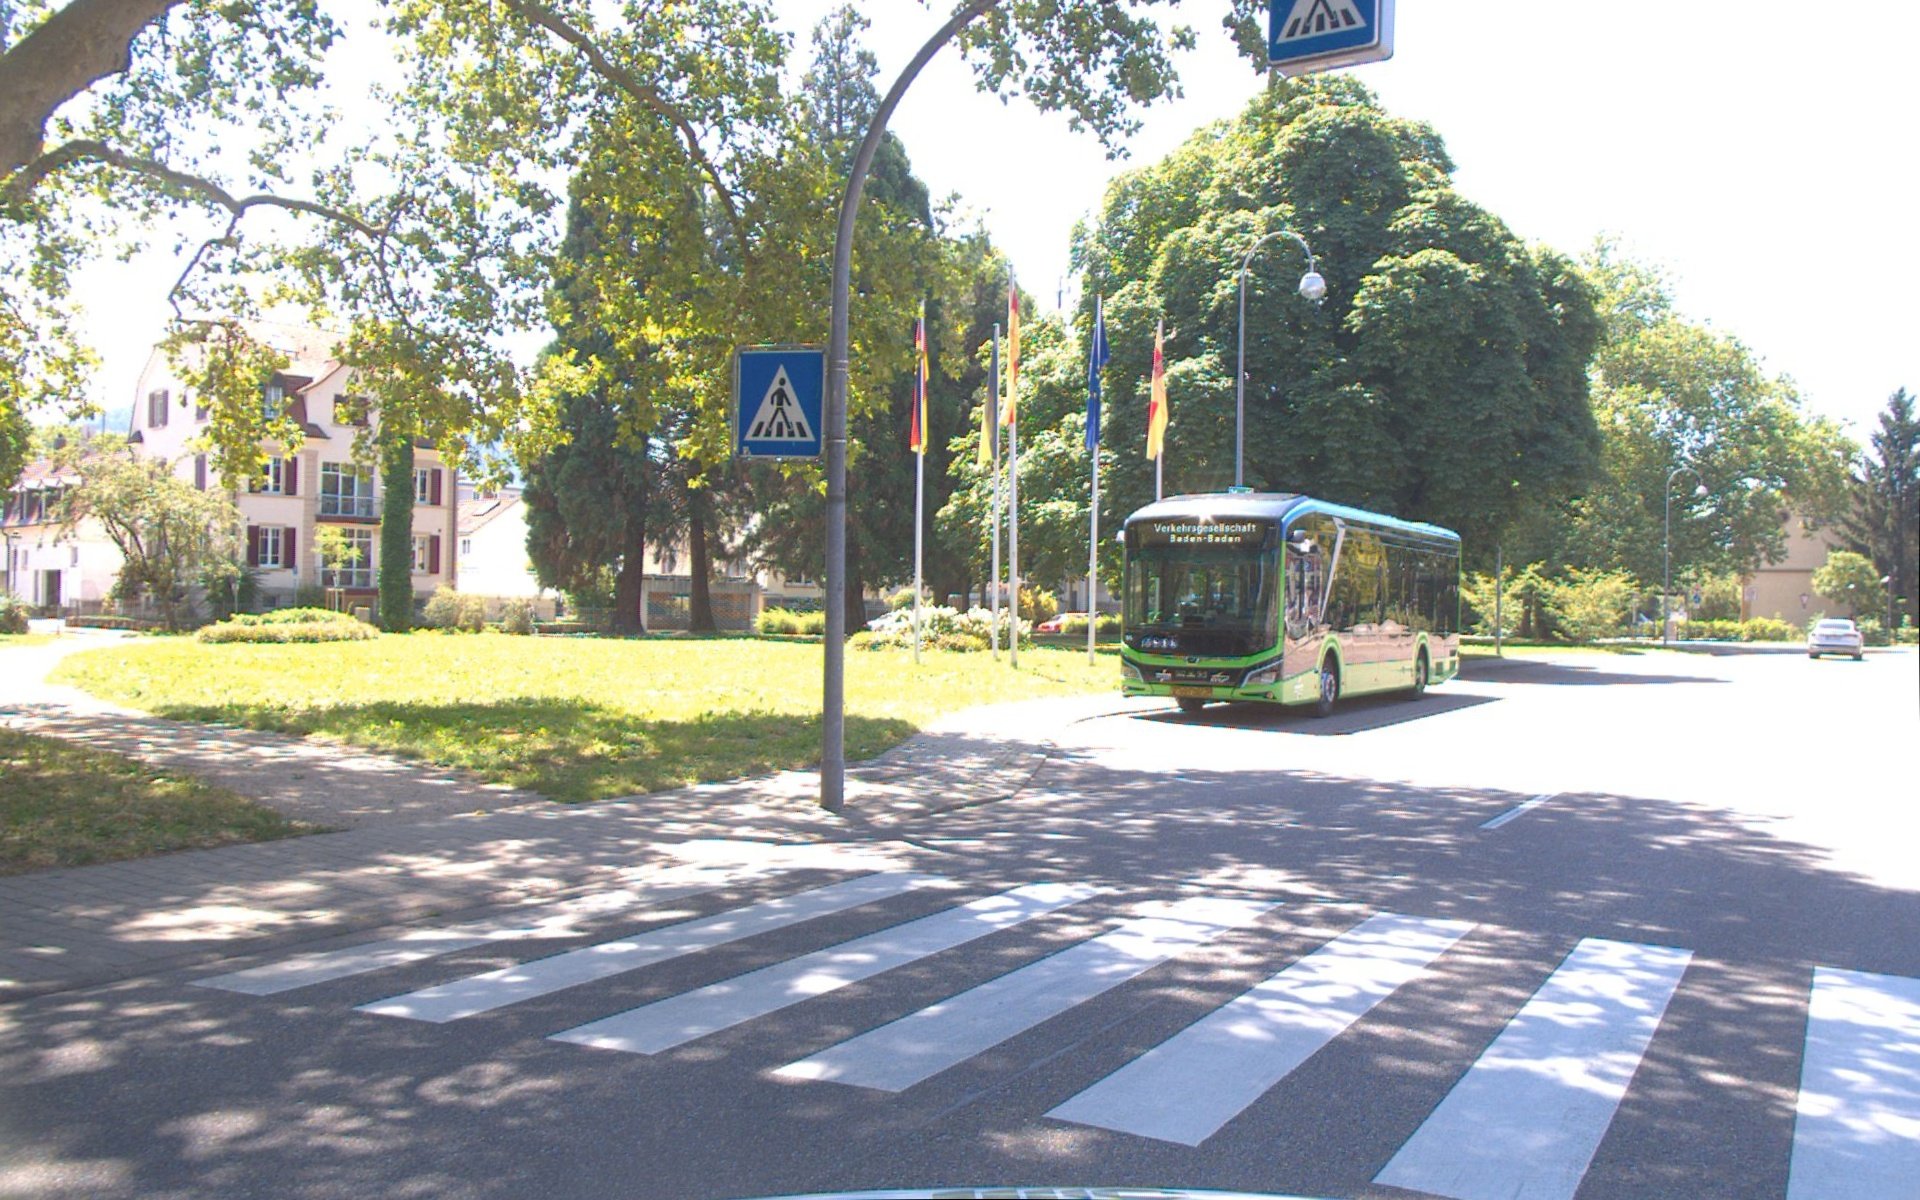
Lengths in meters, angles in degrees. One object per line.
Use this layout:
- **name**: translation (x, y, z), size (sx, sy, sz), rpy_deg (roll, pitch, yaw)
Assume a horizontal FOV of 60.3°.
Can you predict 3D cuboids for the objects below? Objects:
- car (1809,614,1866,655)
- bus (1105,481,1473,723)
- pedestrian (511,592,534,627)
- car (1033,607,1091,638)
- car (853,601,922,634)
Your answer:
- **car**: translation (37.059, 1.428, 69.788), size (1.946, 1.655, 4.768), rpy_deg (0, 0, 30)
- **bus**: translation (6.302, 0.036, 28.992), size (2.755, 3.340, 12.405), rpy_deg (1, 0, 28)
- **pedestrian**: translation (-17.834, 0.380, 67.407), size (0.810, 1.394, 0.616), rpy_deg (3, 0, -11)
- **car**: translation (6.776, 1.520, 109.523), size (1.842, 1.870, 3.979), rpy_deg (3, 0, 40)
- **car**: translation (-4.235, 1.027, 97.487), size (1.842, 1.782, 3.979), rpy_deg (3, 0, 40)
